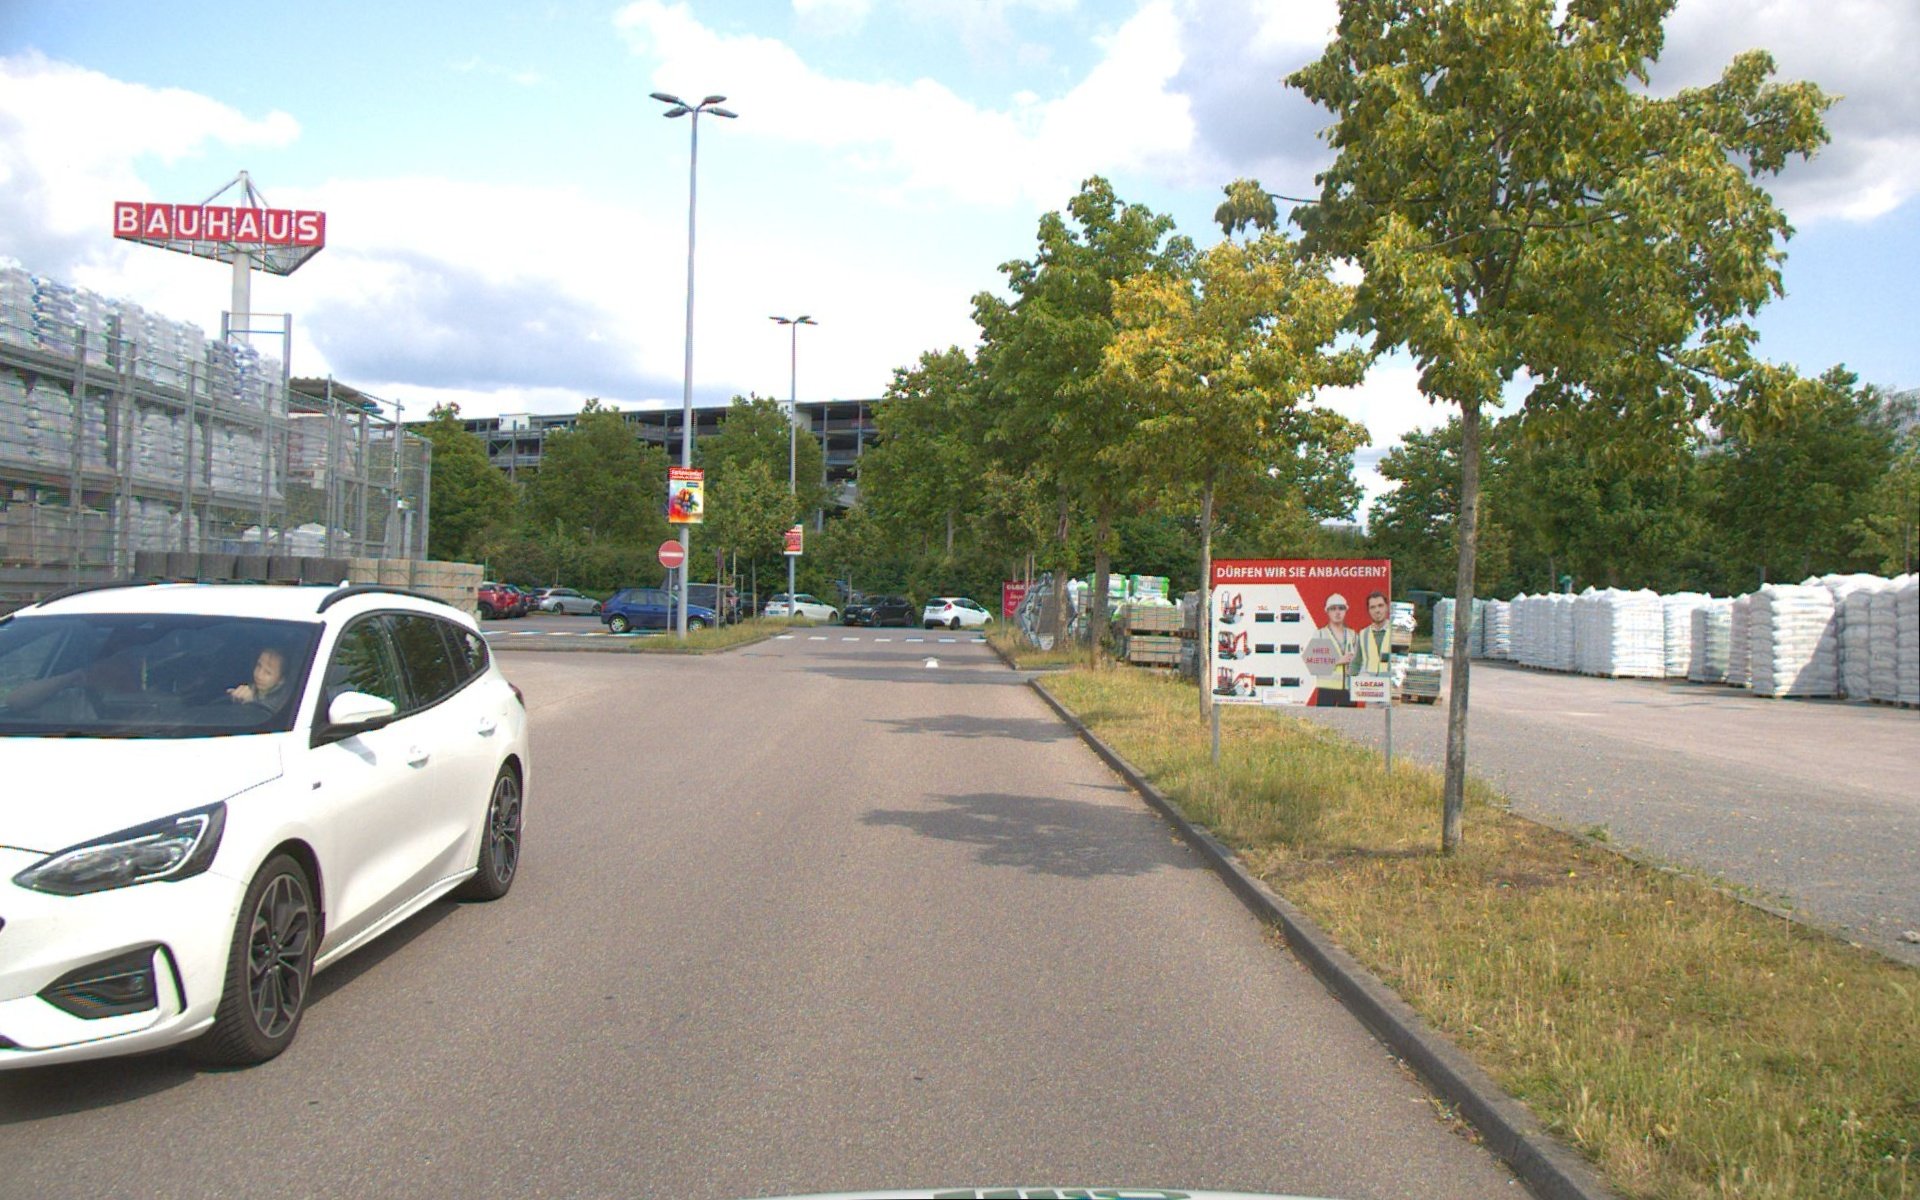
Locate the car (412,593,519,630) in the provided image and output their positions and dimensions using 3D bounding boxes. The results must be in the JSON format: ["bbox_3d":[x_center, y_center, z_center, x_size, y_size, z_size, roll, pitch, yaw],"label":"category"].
[{"bbox_3d":[-20.838,0.485,69.822,3.994,1.423,1.765,1,0,-4],"label":"car"}]

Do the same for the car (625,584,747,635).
[{"bbox_3d":[-9.414,0.322,56.962,3.869,1.653,1.736,1,0,1],"label":"car"}]

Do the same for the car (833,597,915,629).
[{"bbox_3d":[-4.022,0.612,78.198,1.697,1.435,4.230,1,0,33],"label":"car"}]

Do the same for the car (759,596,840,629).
[{"bbox_3d":[-7.808,0.625,80.857,1.656,1.536,4.066,-2,-2,36],"label":"car"}]

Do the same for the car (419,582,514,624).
[{"bbox_3d":[-20.102,0.127,67.486,3.367,1.609,1.709,1,0,-3],"label":"car"}]

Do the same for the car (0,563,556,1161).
[{"bbox_3d":[-2.951,0.632,6.297,1.767,1.490,4.328,2,0,-1],"label":"car"}]

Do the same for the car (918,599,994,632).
[{"bbox_3d":[-0.170,0.712,75.484,1.638,1.436,3.541,1,0,38],"label":"car"}]

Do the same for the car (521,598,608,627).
[{"bbox_3d":[-21.335,0.694,89.353,1.747,1.531,4.641,1,0,32],"label":"car"}]

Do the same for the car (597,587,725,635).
[{"bbox_3d":[-9.348,0.339,51.900,3.674,1.392,1.621,1,0,-1],"label":"car"}]
